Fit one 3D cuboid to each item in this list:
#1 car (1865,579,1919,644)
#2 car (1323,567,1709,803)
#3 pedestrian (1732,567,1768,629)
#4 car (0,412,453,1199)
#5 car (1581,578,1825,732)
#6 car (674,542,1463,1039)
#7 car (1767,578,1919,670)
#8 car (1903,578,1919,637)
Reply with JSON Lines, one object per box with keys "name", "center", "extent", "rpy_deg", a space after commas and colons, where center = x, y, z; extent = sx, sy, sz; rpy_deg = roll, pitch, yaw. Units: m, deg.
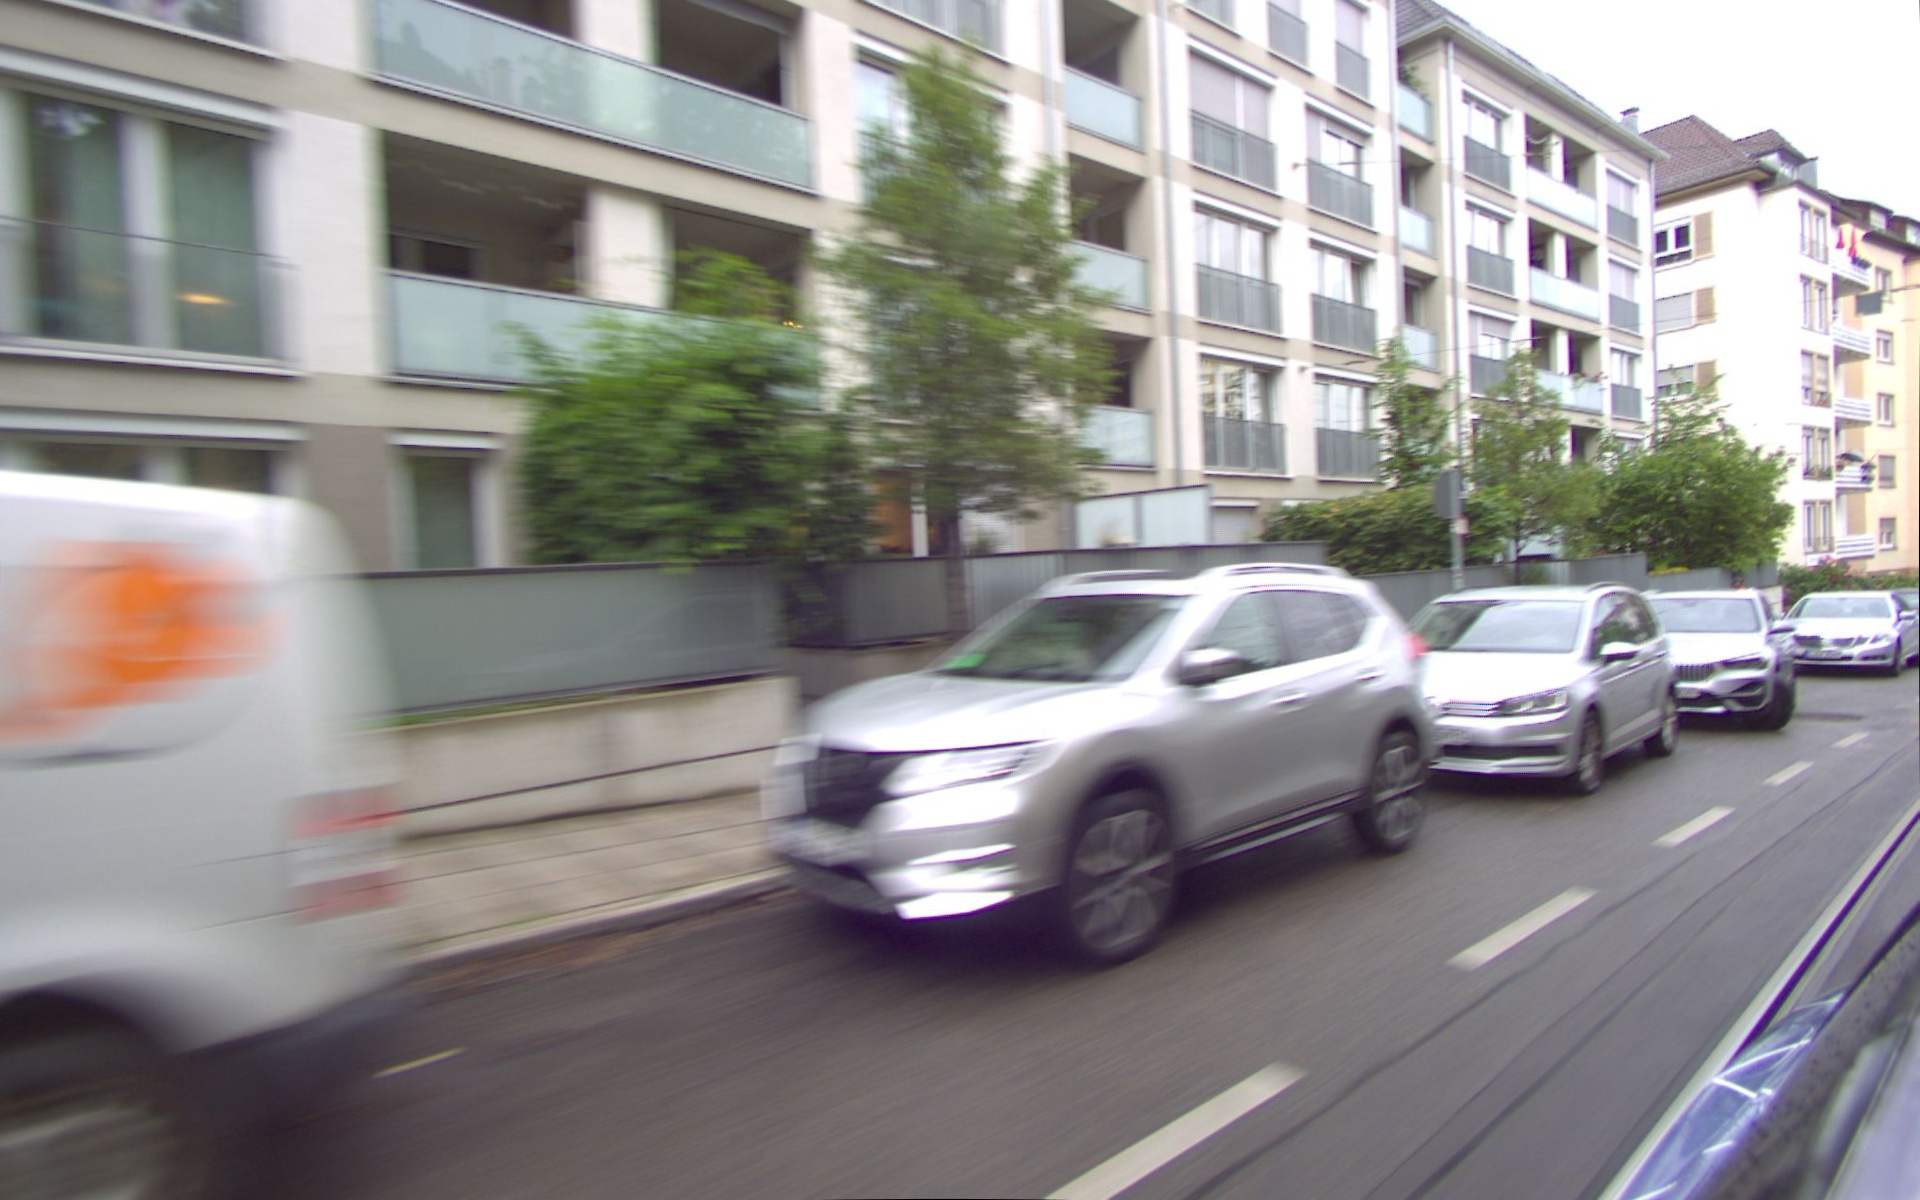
{"name": "car", "center": [22.613, 0.239, 23.643], "extent": [3.451, 1.442, 1.600], "rpy_deg": [-1, 0, -38]}
{"name": "car", "center": [5.298, 0.583, 9.322], "extent": [4.586, 1.648, 1.833], "rpy_deg": [-1, 0, -44]}
{"name": "pedestrian", "center": [20.982, -0.062, 26.886], "extent": [0.575, 1.606, 0.566], "rpy_deg": [1, 1, 20]}
{"name": "car", "center": [-3.462, 0.563, 1.651], "extent": [4.398, 1.818, 1.779], "rpy_deg": [-1, 0, -44]}
{"name": "car", "center": [9.597, 0.570, 12.918], "extent": [1.974, 1.605, 4.495], "rpy_deg": [-1, 0, 43]}
{"name": "car", "center": [0.954, 0.624, 5.678], "extent": [4.608, 1.677, 1.834], "rpy_deg": [-1, 0, -43]}
{"name": "car", "center": [16.967, 0.389, 19.058], "extent": [4.704, 1.535, 1.861], "rpy_deg": [-1, 0, -40]}
{"name": "car", "center": [26.340, 0.168, 26.417], "extent": [4.308, 1.486, 1.723], "rpy_deg": [-1, 0, -36]}
